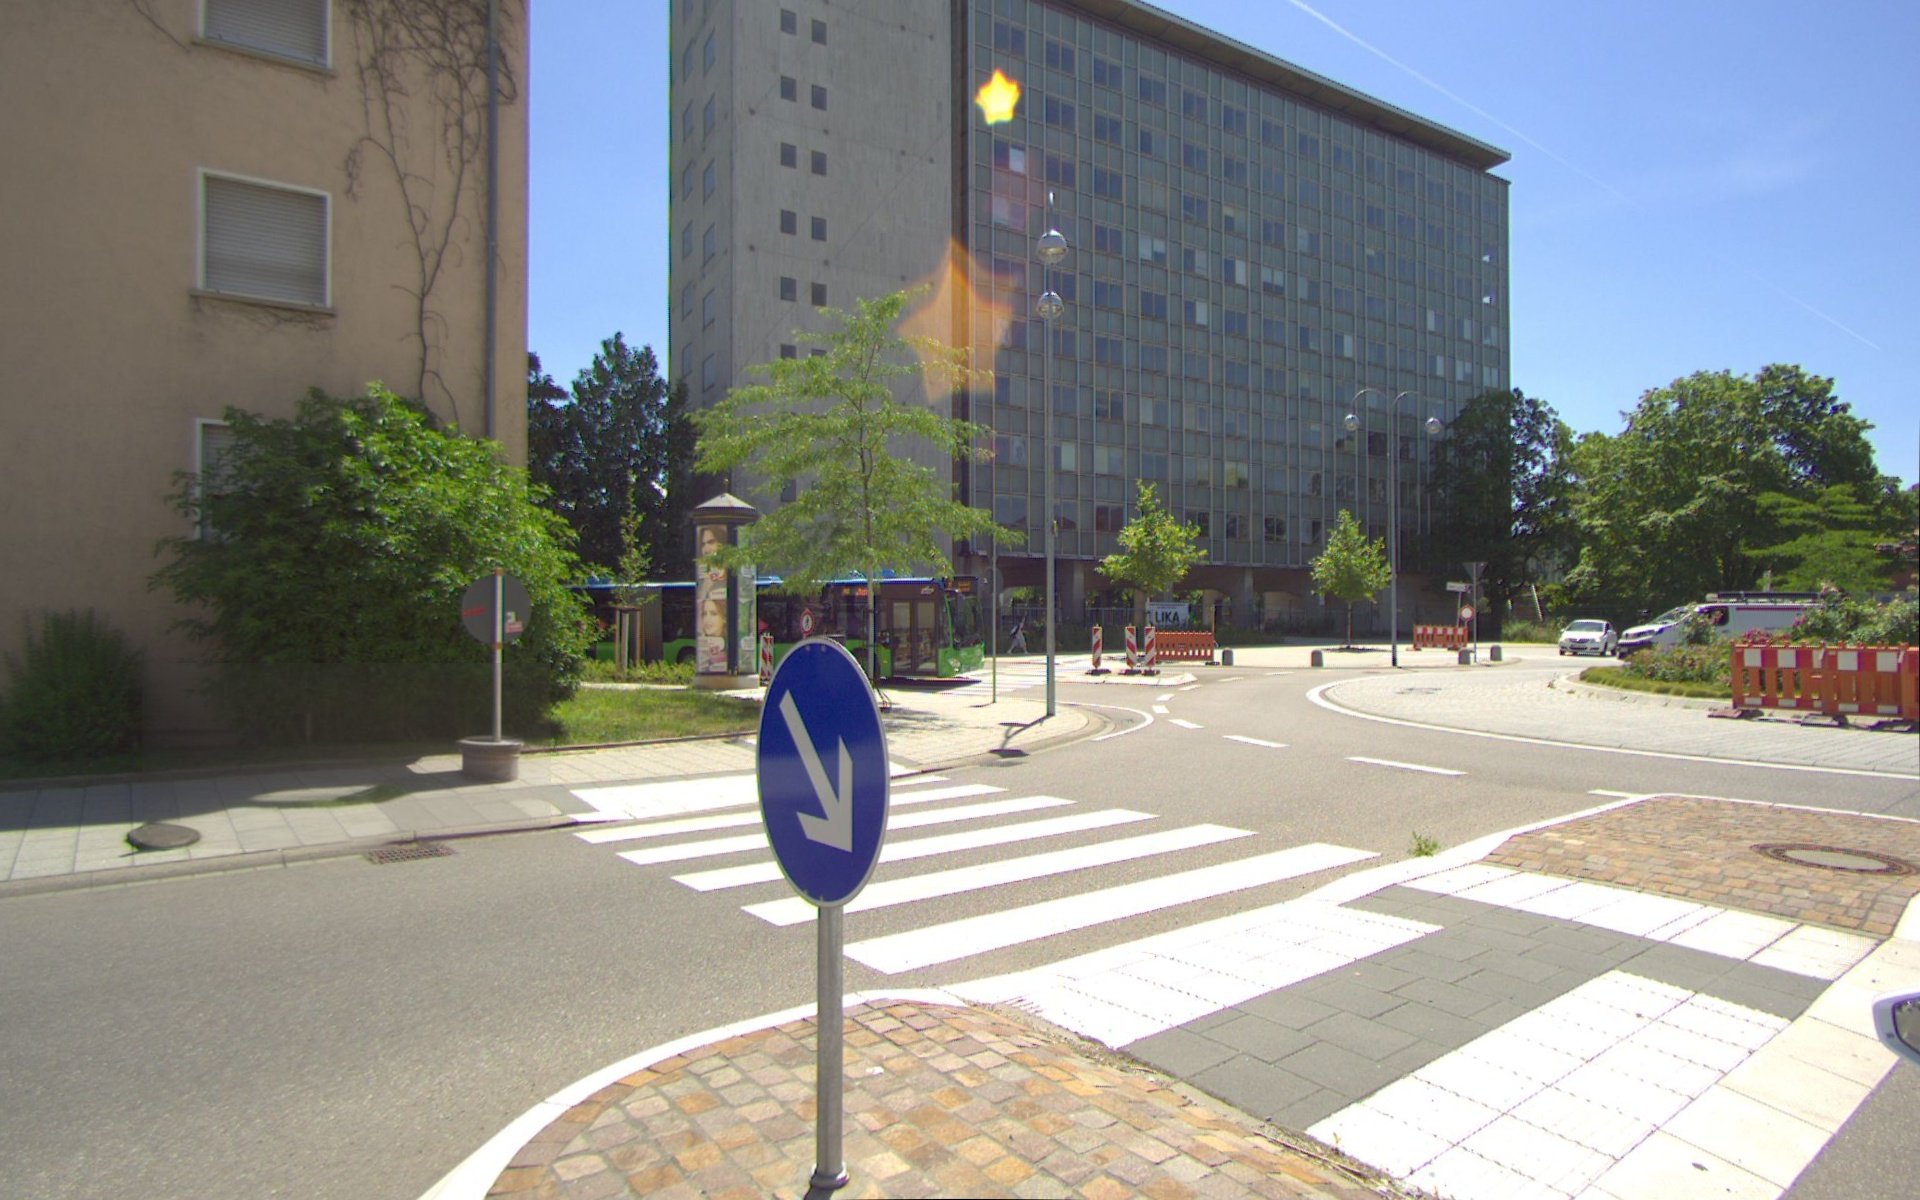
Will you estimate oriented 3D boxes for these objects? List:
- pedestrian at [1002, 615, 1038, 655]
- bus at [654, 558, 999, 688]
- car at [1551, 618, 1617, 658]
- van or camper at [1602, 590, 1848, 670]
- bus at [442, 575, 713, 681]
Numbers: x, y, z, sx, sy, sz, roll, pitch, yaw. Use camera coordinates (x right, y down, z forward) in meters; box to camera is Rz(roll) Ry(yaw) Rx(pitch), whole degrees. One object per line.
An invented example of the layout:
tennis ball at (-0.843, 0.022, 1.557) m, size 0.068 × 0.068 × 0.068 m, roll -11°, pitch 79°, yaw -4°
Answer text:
pedestrian at (2.429, 1.407, 40.454) m, size 1.259 × 1.606 × 0.947 m, roll 0°, pitch -1°, yaw -11°
bus at (-4.006, 0.614, 29.387) m, size 9.892 × 3.369 × 2.962 m, roll 0°, pitch 1°, yaw 24°
car at (26.380, 1.565, 42.414) m, size 1.765 × 1.618 × 3.900 m, roll -1°, pitch -1°, yaw 42°
van or camper at (21.734, 0.831, 28.748) m, size 5.303 × 2.200 × 2.001 m, roll 0°, pitch 0°, yaw 7°
bus at (-12.618, 0.844, 32.990) m, size 8.751 × 3.152 × 2.829 m, roll 0°, pitch 1°, yaw 23°
